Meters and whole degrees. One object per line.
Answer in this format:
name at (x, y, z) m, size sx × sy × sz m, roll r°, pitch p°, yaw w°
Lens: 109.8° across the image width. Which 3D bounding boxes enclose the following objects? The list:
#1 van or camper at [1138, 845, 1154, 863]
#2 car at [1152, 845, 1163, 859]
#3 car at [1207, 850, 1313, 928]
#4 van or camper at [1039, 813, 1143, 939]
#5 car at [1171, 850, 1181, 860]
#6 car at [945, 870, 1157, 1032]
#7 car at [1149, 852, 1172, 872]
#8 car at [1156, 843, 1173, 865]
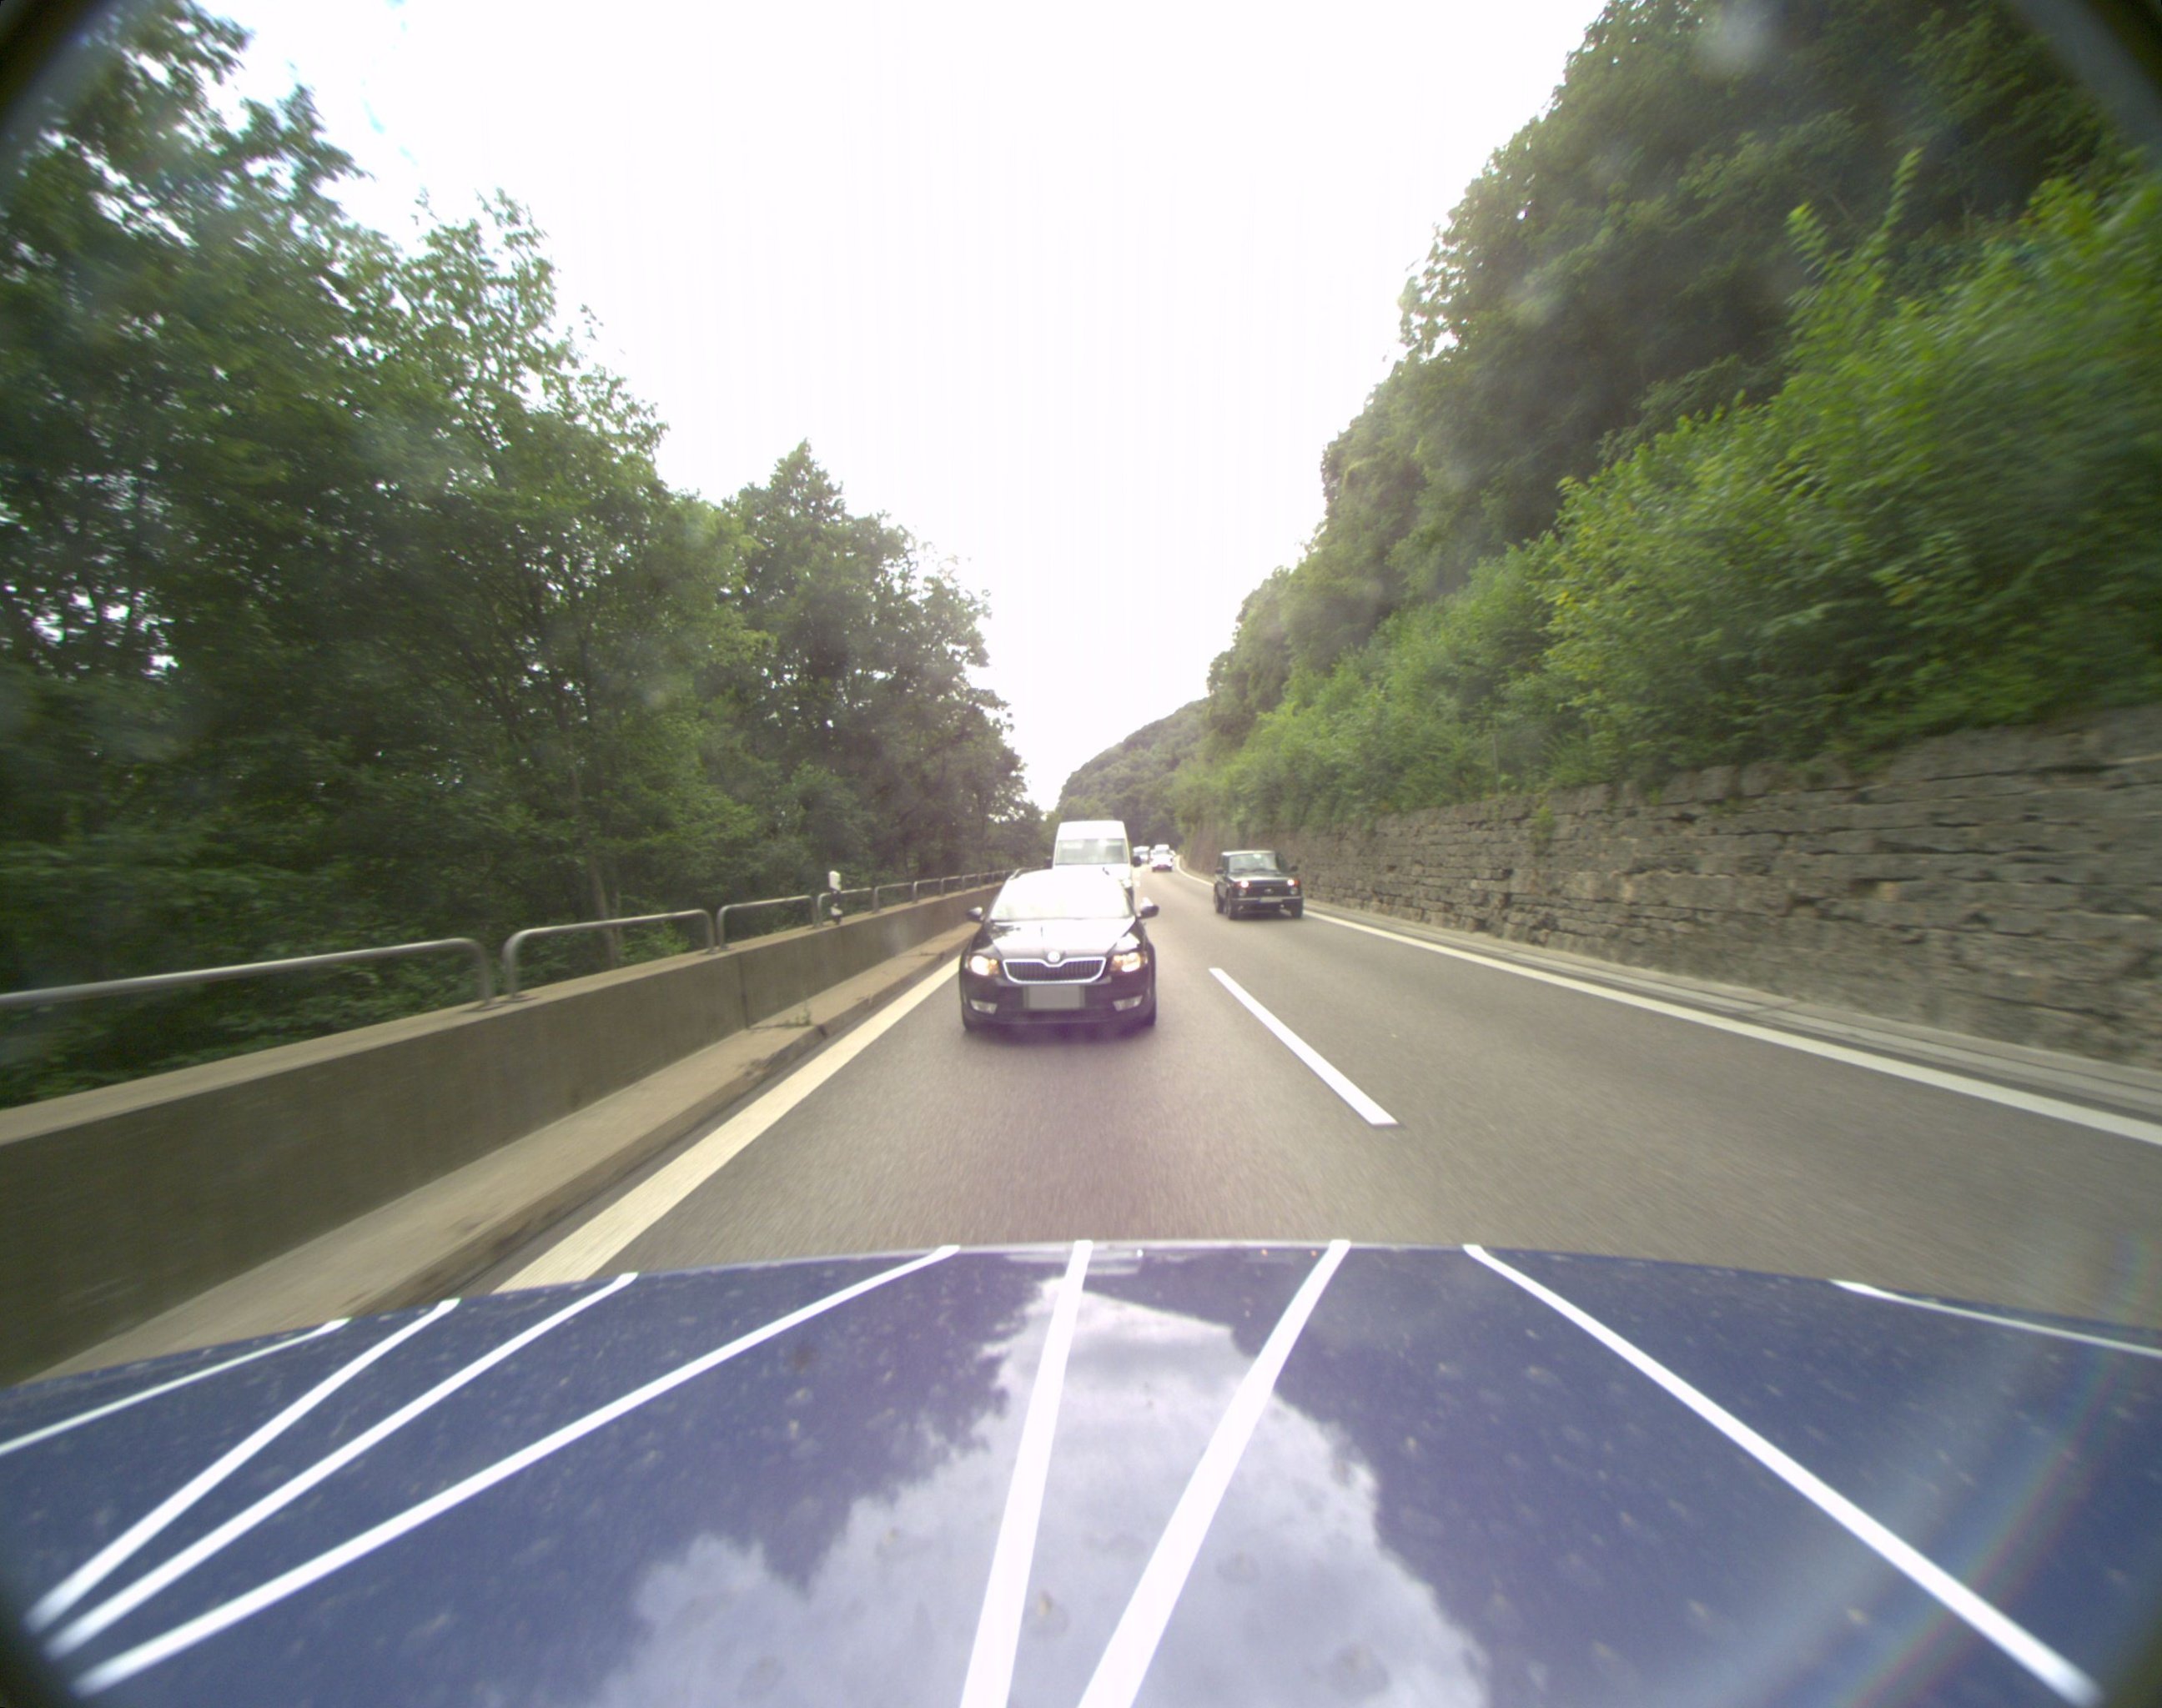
van or camper at (10.053, -0.105, 117.722) m, size 2.269 × 2.527 × 5.913 m, roll -4°, pitch 1°, yaw 5°
car at (14.429, -0.406, 143.572) m, size 1.975 × 2.545 × 4.585 m, roll -2°, pitch 0°, yaw 6°
car at (4.341, 0.776, 19.129) m, size 1.812 × 1.646 × 4.584 m, roll -3°, pitch 0°, yaw 4°
van or camper at (0.335, 0.479, 19.270) m, size 2.081 × 2.575 × 5.913 m, roll -3°, pitch 0°, yaw 2°
car at (25.002, 0.202, 199.613) m, size 1.974 × 2.545 × 4.589 m, roll -2°, pitch 0°, yaw 16°
car at (-0.121, 0.996, 9.829) m, size 1.998 × 1.389 × 5.010 m, roll -2°, pitch 0°, yaw 4°
car at (7.117, 0.715, 68.382) m, size 1.812 × 1.646 × 4.584 m, roll -3°, pitch 0°, yaw 3°
car at (10.475, 0.000, 95.750) m, size 1.975 × 2.628 × 4.585 m, roll -2°, pitch 0°, yaw 6°
